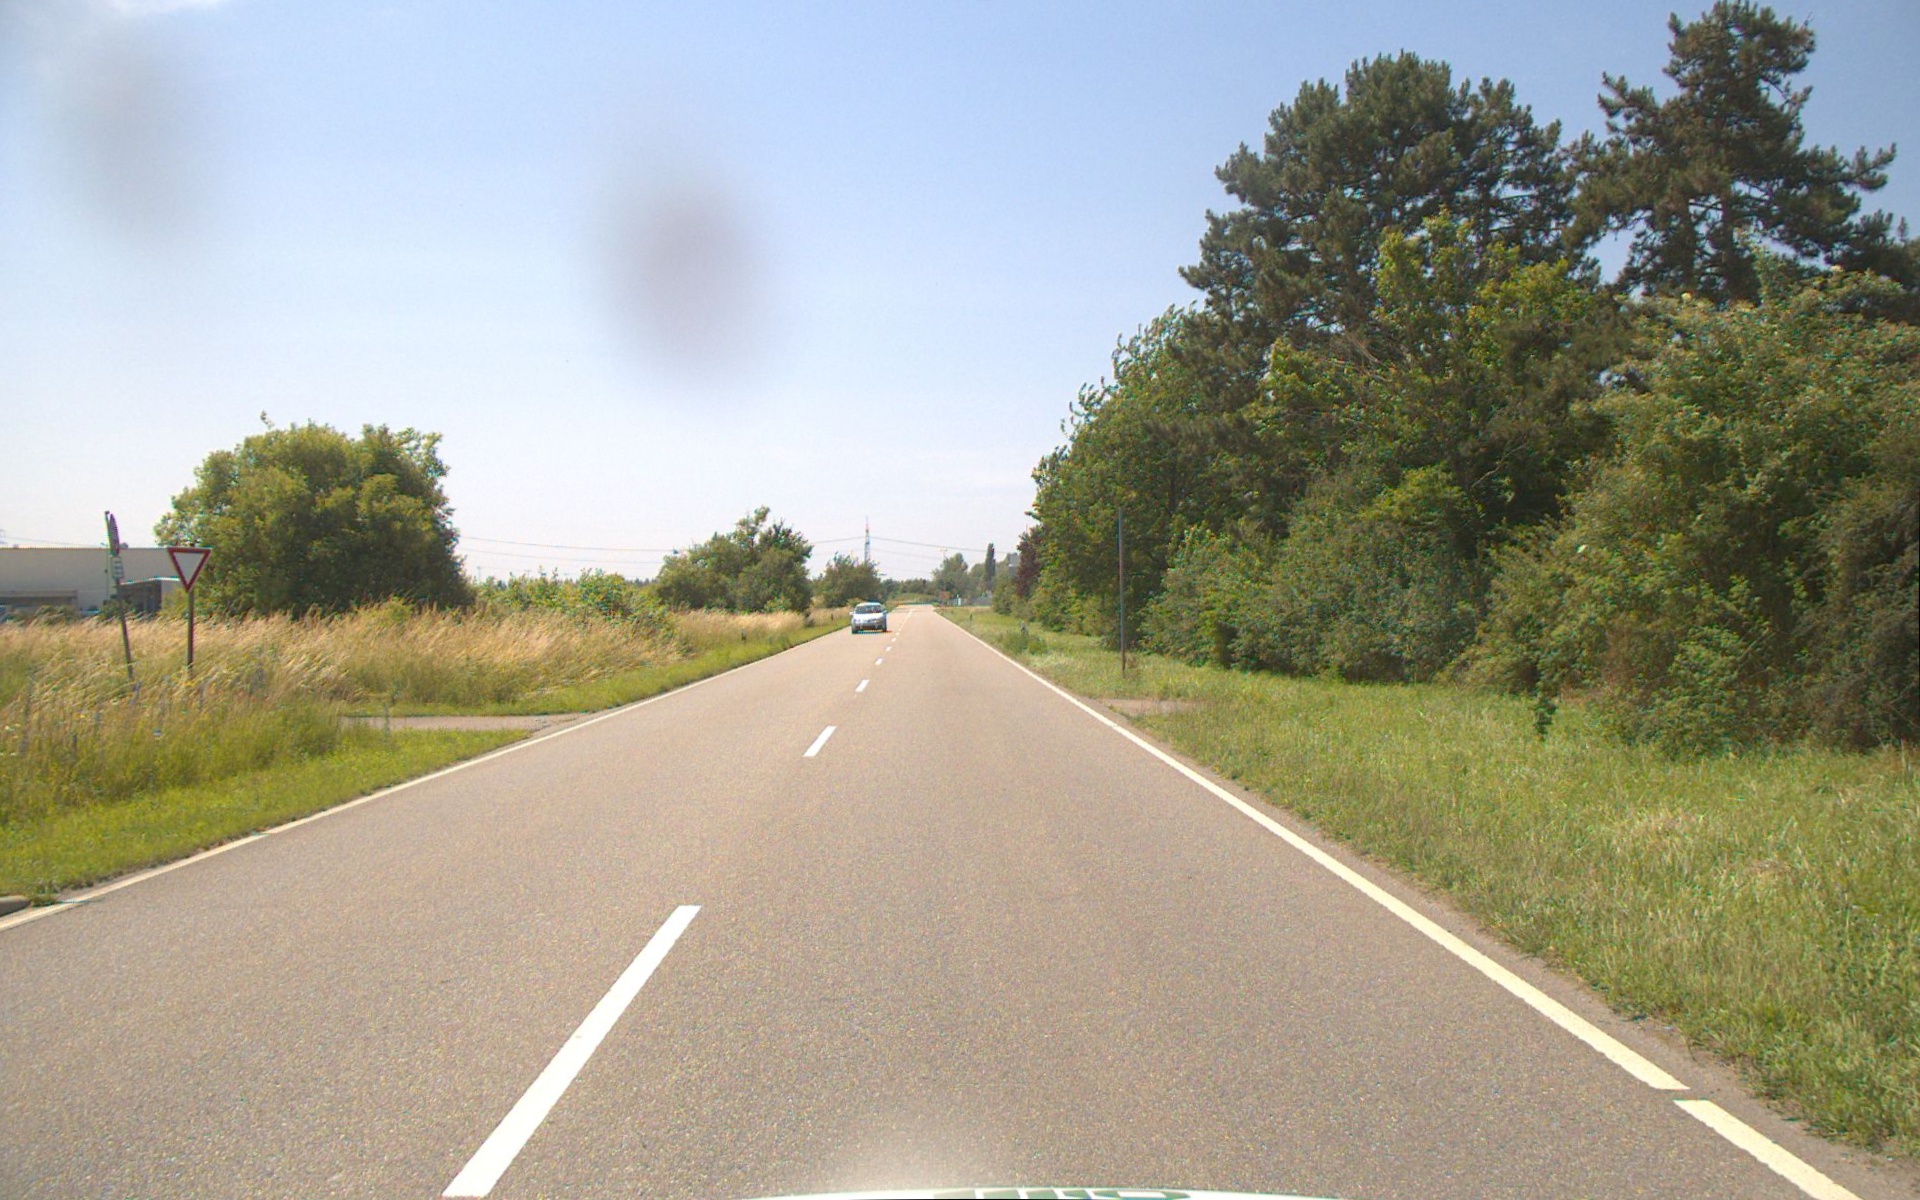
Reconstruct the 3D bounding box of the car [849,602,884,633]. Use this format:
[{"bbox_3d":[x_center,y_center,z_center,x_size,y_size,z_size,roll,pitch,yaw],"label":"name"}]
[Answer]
[{"bbox_3d":[-4.685,0.856,83.210,1.645,1.445,4.420,-3,0,-2],"label":"car"}]
